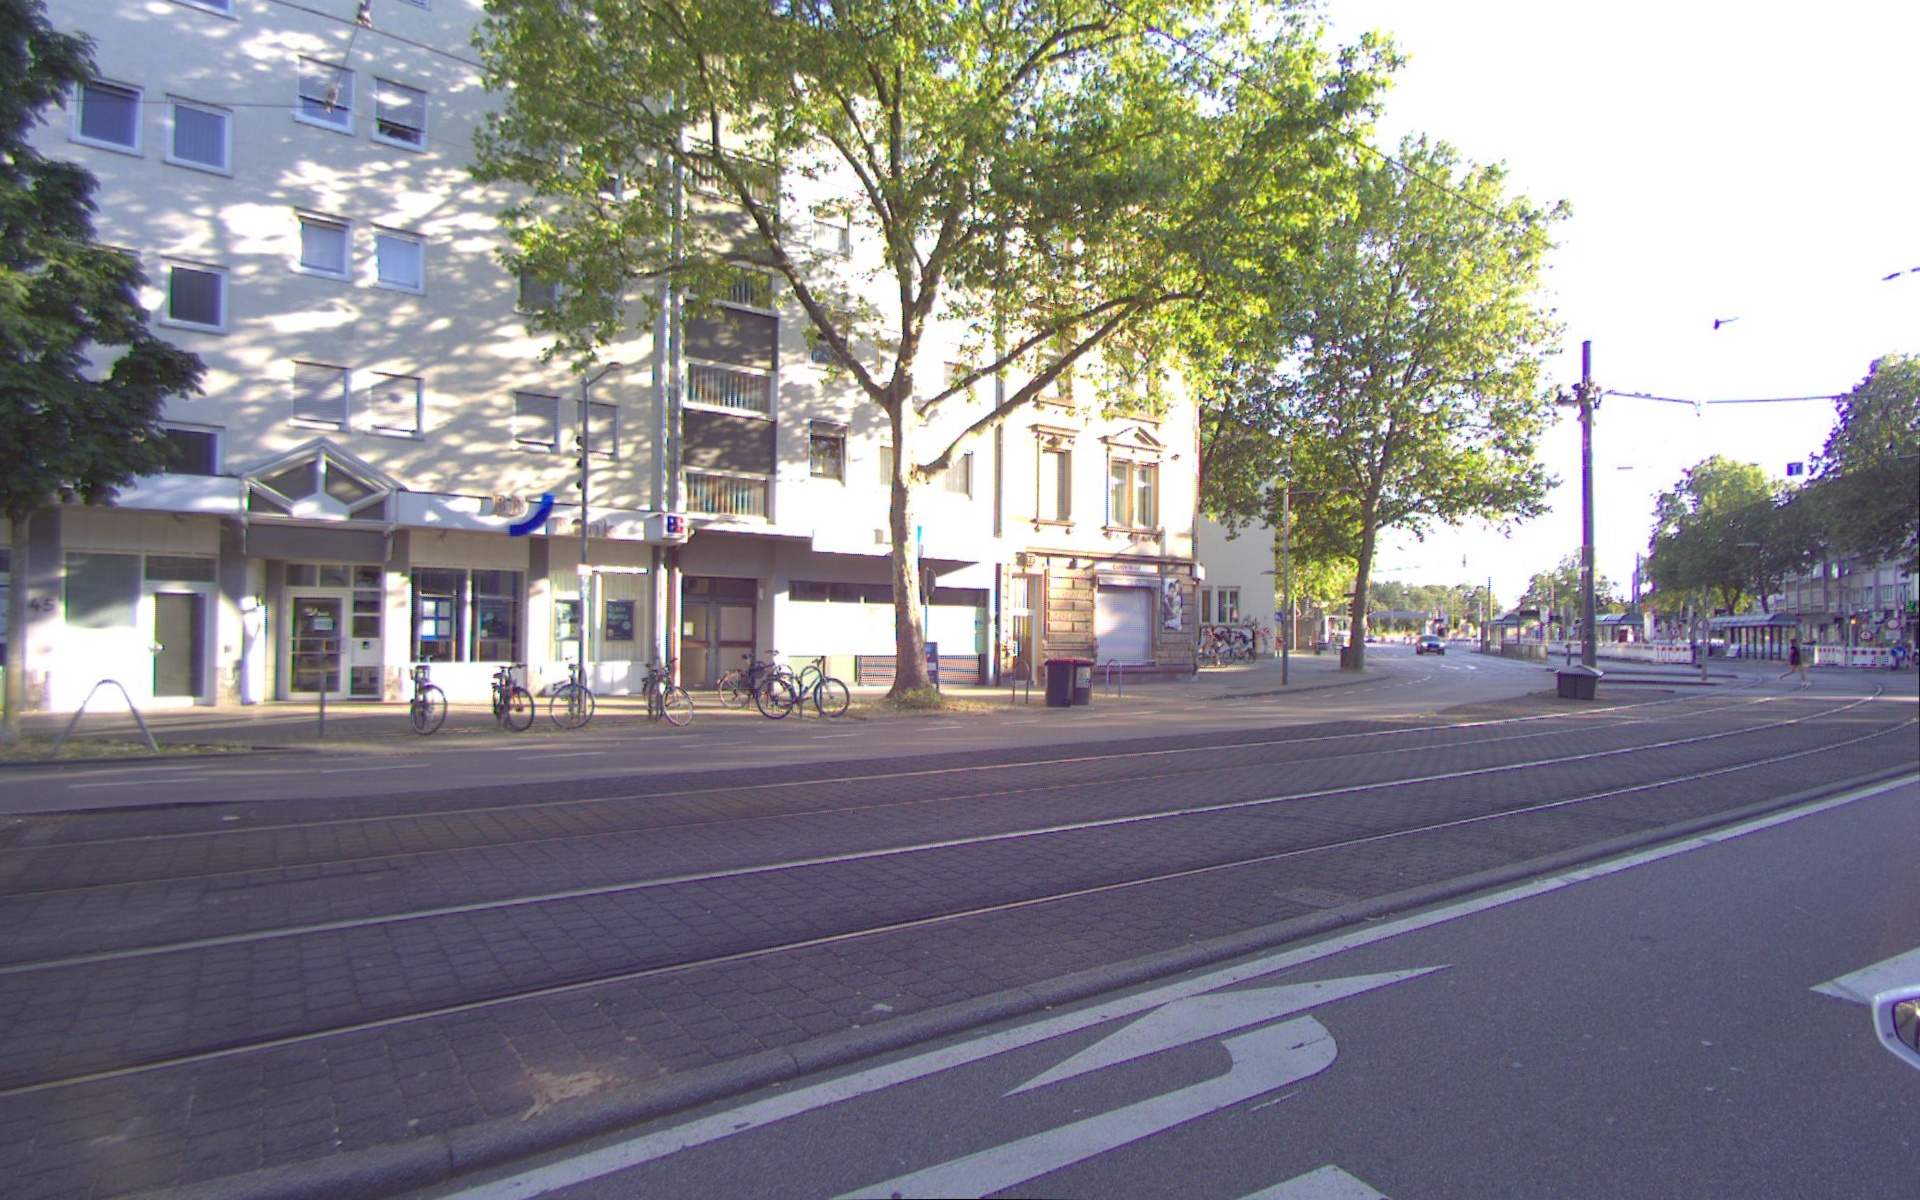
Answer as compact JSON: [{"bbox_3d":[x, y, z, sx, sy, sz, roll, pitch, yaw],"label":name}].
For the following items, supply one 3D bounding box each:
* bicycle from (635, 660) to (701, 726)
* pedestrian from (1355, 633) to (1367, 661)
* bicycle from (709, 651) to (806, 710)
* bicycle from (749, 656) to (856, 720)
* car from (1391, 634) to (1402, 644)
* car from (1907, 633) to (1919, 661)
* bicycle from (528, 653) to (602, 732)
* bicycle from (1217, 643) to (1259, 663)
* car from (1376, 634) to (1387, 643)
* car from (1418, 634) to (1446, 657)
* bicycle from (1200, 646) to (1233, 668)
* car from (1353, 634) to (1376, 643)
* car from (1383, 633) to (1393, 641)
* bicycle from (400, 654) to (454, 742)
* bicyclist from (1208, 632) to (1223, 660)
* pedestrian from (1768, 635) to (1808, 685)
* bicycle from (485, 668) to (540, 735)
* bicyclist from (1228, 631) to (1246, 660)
[{"bbox_3d":[-5.018,1.564,17.199,0.584,1.002,1.729,2,-1,-34],"label":"bicycle"},{"bbox_3d":[24.663,2.898,61.768,0.645,1.678,0.444,0,-2,18],"label":"pedestrian"},{"bbox_3d":[-4.034,1.586,20.054,1.777,1.132,0.617,2,-2,-29],"label":"bicycle"},{"bbox_3d":[-2.841,1.570,18.200,1.800,1.091,0.649,2,-2,-29],"label":"bicycle"},{"bbox_3d":[78.757,7.041,181.352,1.814,1.706,3.715,-2,-2,23],"label":"car"},{"bbox_3d":[64.497,3.144,65.896,1.960,1.815,4.000,2,-1,20],"label":"car"},{"bbox_3d":[-6.345,1.445,16.092,0.724,1.128,1.729,2,-1,-34],"label":"bicycle"},{"bbox_3d":[14.070,2.684,50.833,1.984,0.950,0.761,0,-2,12],"label":"bicycle"},{"bbox_3d":[79.436,7.204,189.334,1.814,1.706,3.716,0,-2,23],"label":"car"},{"bbox_3d":[36.618,3.503,77.913,1.962,1.661,3.997,0,-2,25],"label":"car"},{"bbox_3d":[12.094,2.671,47.368,1.480,0.998,0.451,0,-2,4],"label":"bicycle"},{"bbox_3d":[78.221,7.383,194.289,3.919,1.661,1.792,0,-2,13],"label":"car"},{"bbox_3d":[89.552,7.753,210.284,1.814,1.706,3.716,0,-2,23],"label":"car"},{"bbox_3d":[-7.841,1.396,14.752,0.506,1.153,1.729,2,-1,-34],"label":"bicycle"},{"bbox_3d":[12.068,2.157,47.385,0.628,1.310,0.457,0,-2,4],"label":"bicyclist"},{"bbox_3d":[29.212,2.123,35.446,0.639,1.708,0.985,3,-2,-41],"label":"pedestrian"},{"bbox_3d":[-6.940,1.543,15.540,0.467,0.900,1.729,2,-1,-34],"label":"bicycle"},{"bbox_3d":[14.031,2.293,50.857,0.825,1.463,0.756,0,-2,12],"label":"bicyclist"}]
